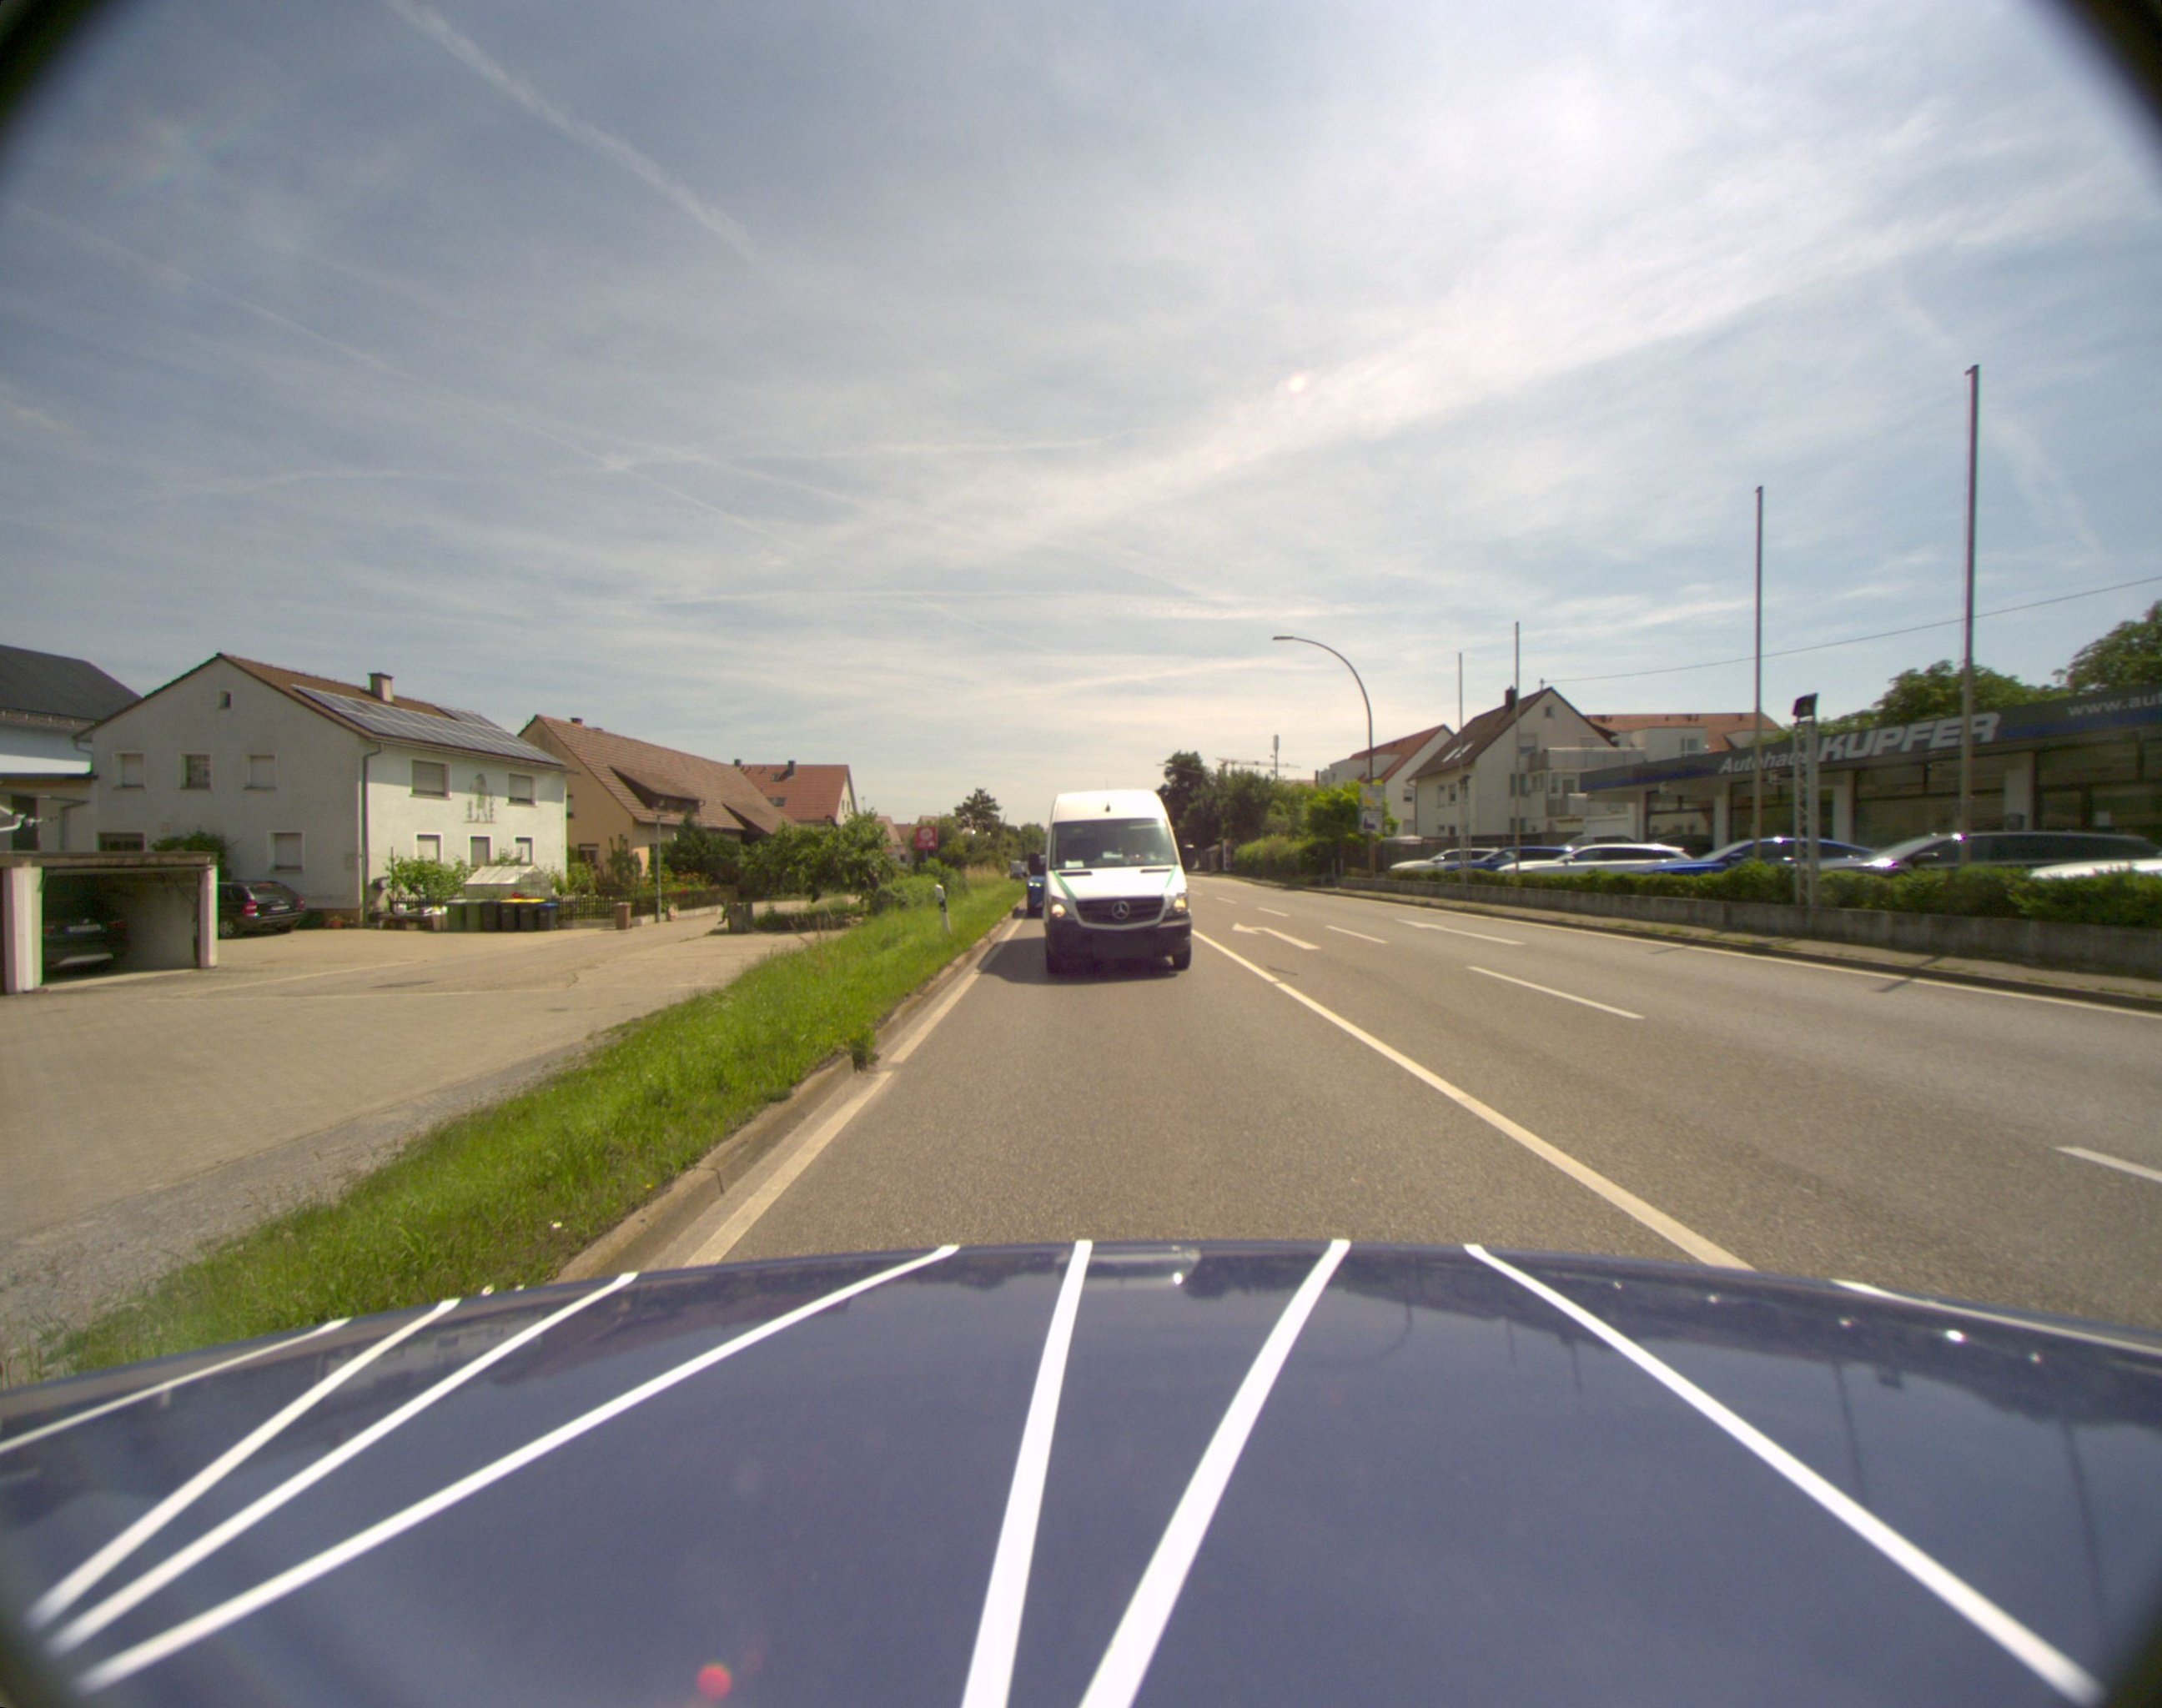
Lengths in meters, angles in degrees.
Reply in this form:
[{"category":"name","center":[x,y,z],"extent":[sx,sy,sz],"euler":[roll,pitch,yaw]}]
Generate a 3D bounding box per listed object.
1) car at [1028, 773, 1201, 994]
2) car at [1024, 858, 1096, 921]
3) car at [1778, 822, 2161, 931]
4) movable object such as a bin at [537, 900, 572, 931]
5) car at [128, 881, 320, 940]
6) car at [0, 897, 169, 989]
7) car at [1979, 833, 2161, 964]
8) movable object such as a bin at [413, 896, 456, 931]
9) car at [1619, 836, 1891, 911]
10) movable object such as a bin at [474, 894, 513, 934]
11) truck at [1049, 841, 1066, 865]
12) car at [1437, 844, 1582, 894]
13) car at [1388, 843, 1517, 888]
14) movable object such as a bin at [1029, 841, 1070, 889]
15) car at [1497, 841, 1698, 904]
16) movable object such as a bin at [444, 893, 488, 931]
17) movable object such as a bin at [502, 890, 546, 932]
[{"category":"car","center":[0.423,0.365,11.965],"extent":[1.977,2.584,5.634],"euler":[-2,0,0]},{"category":"car","center":[-0.523,0.914,21.452],"extent":[1.824,1.574,3.901],"euler":[-1,0,0]},{"category":"car","center":[14.413,0.368,12.274],"extent":[4.250,1.536,1.853],"euler":[-2,0,24]},{"category":"movable object such as a bin","center":[-18.364,2.136,26.529],"extent":[0.645,1.021,0.756],"euler":[-2,0,0]},{"category":"car","center":[-27.099,1.755,24.133],"extent":[3.997,1.724,1.828],"euler":[0,1,1]},{"category":"car","center":[-21.296,1.757,15.170],"extent":[3.996,1.594,1.826],"euler":[-2,0,2]},{"category":"car","center":[13.975,0.456,8.726],"extent":[4.329,1.451,1.858],"euler":[-2,0,25]},{"category":"movable object such as a bin","center":[-22.562,2.064,26.533],"extent":[0.740,1.149,0.830],"euler":[-2,0,0]},{"category":"car","center":[14.181,0.429,16.329],"extent":[3.990,1.433,1.857],"euler":[-2,0,26]},{"category":"movable object such as a bin","center":[-20.706,2.104,26.781],"extent":[0.678,1.330,0.820],"euler":[-2,0,0]},{"category":"truck","center":[-3.862,-0.195,125.800],"extent":[2.506,3.848,5.497],"euler":[-2,0,0]},{"category":"car","center":[13.989,0.500,25.047],"extent":[3.990,1.455,2.003],"euler":[-2,0,27]},{"category":"car","center":[14.102,0.437,28.983],"extent":[4.255,1.521,2.003],"euler":[-2,0,27]},{"category":"movable object such as a bin","center":[-1.872,0.630,46.792],"extent":[1.998,2.710,5.420],"euler":[-2,0,2]},{"category":"car","center":[13.848,0.513,20.724],"extent":[4.303,1.510,2.003],"euler":[-2,0,28]},{"category":"movable object such as a bin","center":[-21.628,2.024,26.743],"extent":[0.745,1.239,0.889],"euler":[-2,0,0]},{"category":"movable object such as a bin","center":[-19.375,1.978,26.455],"extent":[0.765,1.362,0.946],"euler":[-2,0,0]}]
